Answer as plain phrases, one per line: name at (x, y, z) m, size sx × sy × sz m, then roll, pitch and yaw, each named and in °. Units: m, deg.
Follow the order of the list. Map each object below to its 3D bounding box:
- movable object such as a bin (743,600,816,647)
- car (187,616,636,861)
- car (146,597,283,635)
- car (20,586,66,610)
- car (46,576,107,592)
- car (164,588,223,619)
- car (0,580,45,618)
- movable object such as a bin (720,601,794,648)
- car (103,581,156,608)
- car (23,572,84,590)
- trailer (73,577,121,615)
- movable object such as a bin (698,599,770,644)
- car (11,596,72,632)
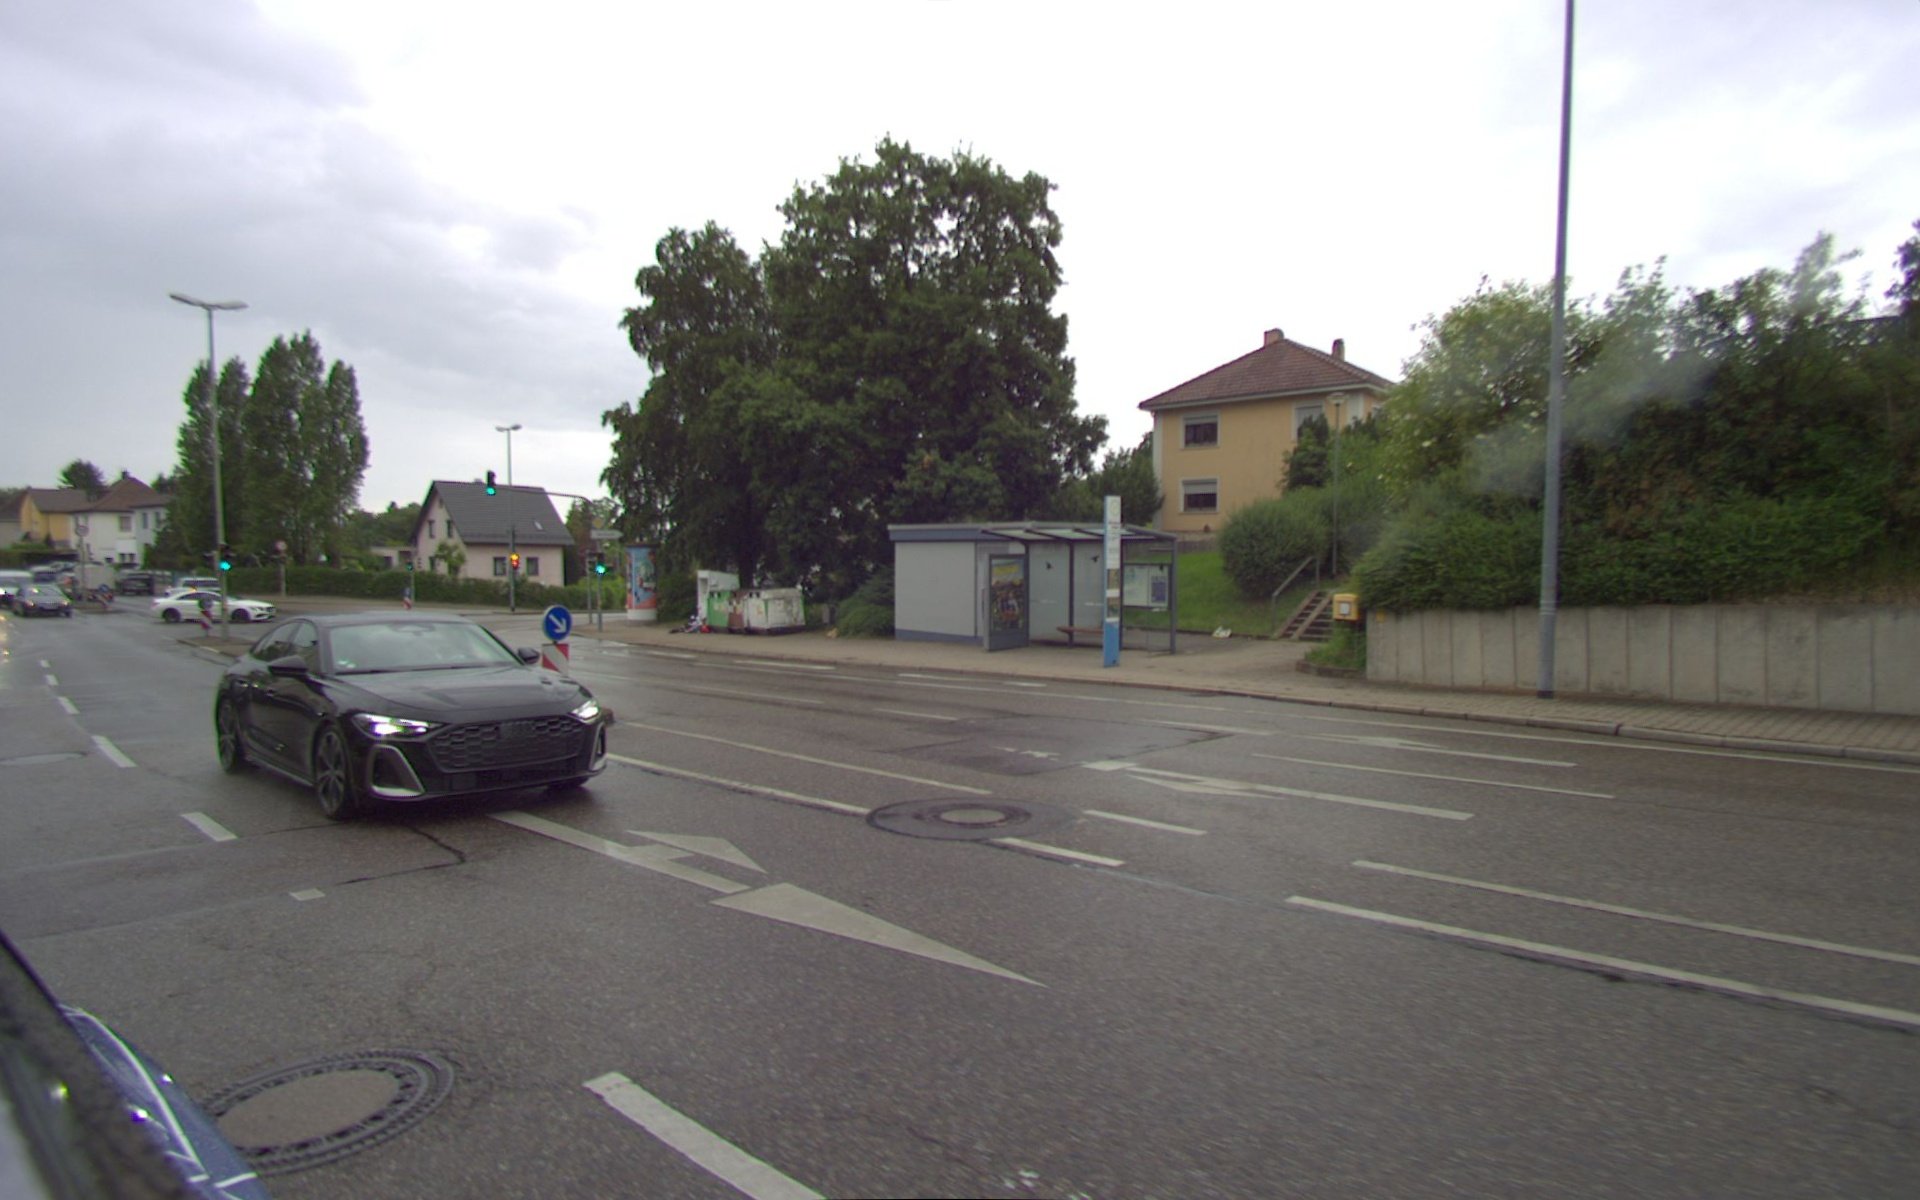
movable object such as a bin at (-6.092, 0.773, 34.135) m, size 2.032 × 1.526 × 1.345 m, roll 0°, pitch -1°, yaw -42°
car at (-4.802, 0.871, 8.460) m, size 4.857 × 1.408 × 1.885 m, roll 0°, pitch 0°, yaw 43°
car at (-33.210, 0.701, 45.219) m, size 4.575 × 1.540 × 1.919 m, roll 1°, pitch 1°, yaw -12°
car at (-63.484, -0.153, 70.061) m, size 4.381 × 1.563 × 1.822 m, roll 2°, pitch 1°, yaw 41°
car at (-84.495, -1.531, 96.826) m, size 1.881 × 1.430 × 4.062 m, roll 2°, pitch 3°, yaw 37°
car at (-43.490, 0.187, 57.374) m, size 4.465 × 1.669 × 1.804 m, roll 2°, pitch 1°, yaw 42°
car at (-50.113, -0.088, 53.543) m, size 4.743 × 1.885 × 1.931 m, roll 2°, pitch 1°, yaw 40°
movable object such as a bin at (-7.055, 0.818, 35.224) m, size 2.032 × 1.580 × 1.583 m, roll 0°, pitch -1°, yaw -42°
car at (-57.061, -0.375, 69.508) m, size 4.591 × 1.682 × 1.788 m, roll 3°, pitch 2°, yaw 37°
car at (-89.359, -1.860, 99.766) m, size 1.833 × 1.495 × 4.070 m, roll 1°, pitch -3°, yaw 30°
trailer at (-52.388, -0.264, 61.413) m, size 4.037 × 2.195 × 1.875 m, roll 1°, pitch 1°, yaw 44°
movable object such as a bin at (-8.134, 0.752, 36.407) m, size 2.032 × 1.580 × 1.583 m, roll 0°, pitch -1°, yaw -42°
car at (-43.045, 0.618, 47.400) m, size 4.059 × 1.498 × 1.815 m, roll 2°, pitch 2°, yaw 43°
